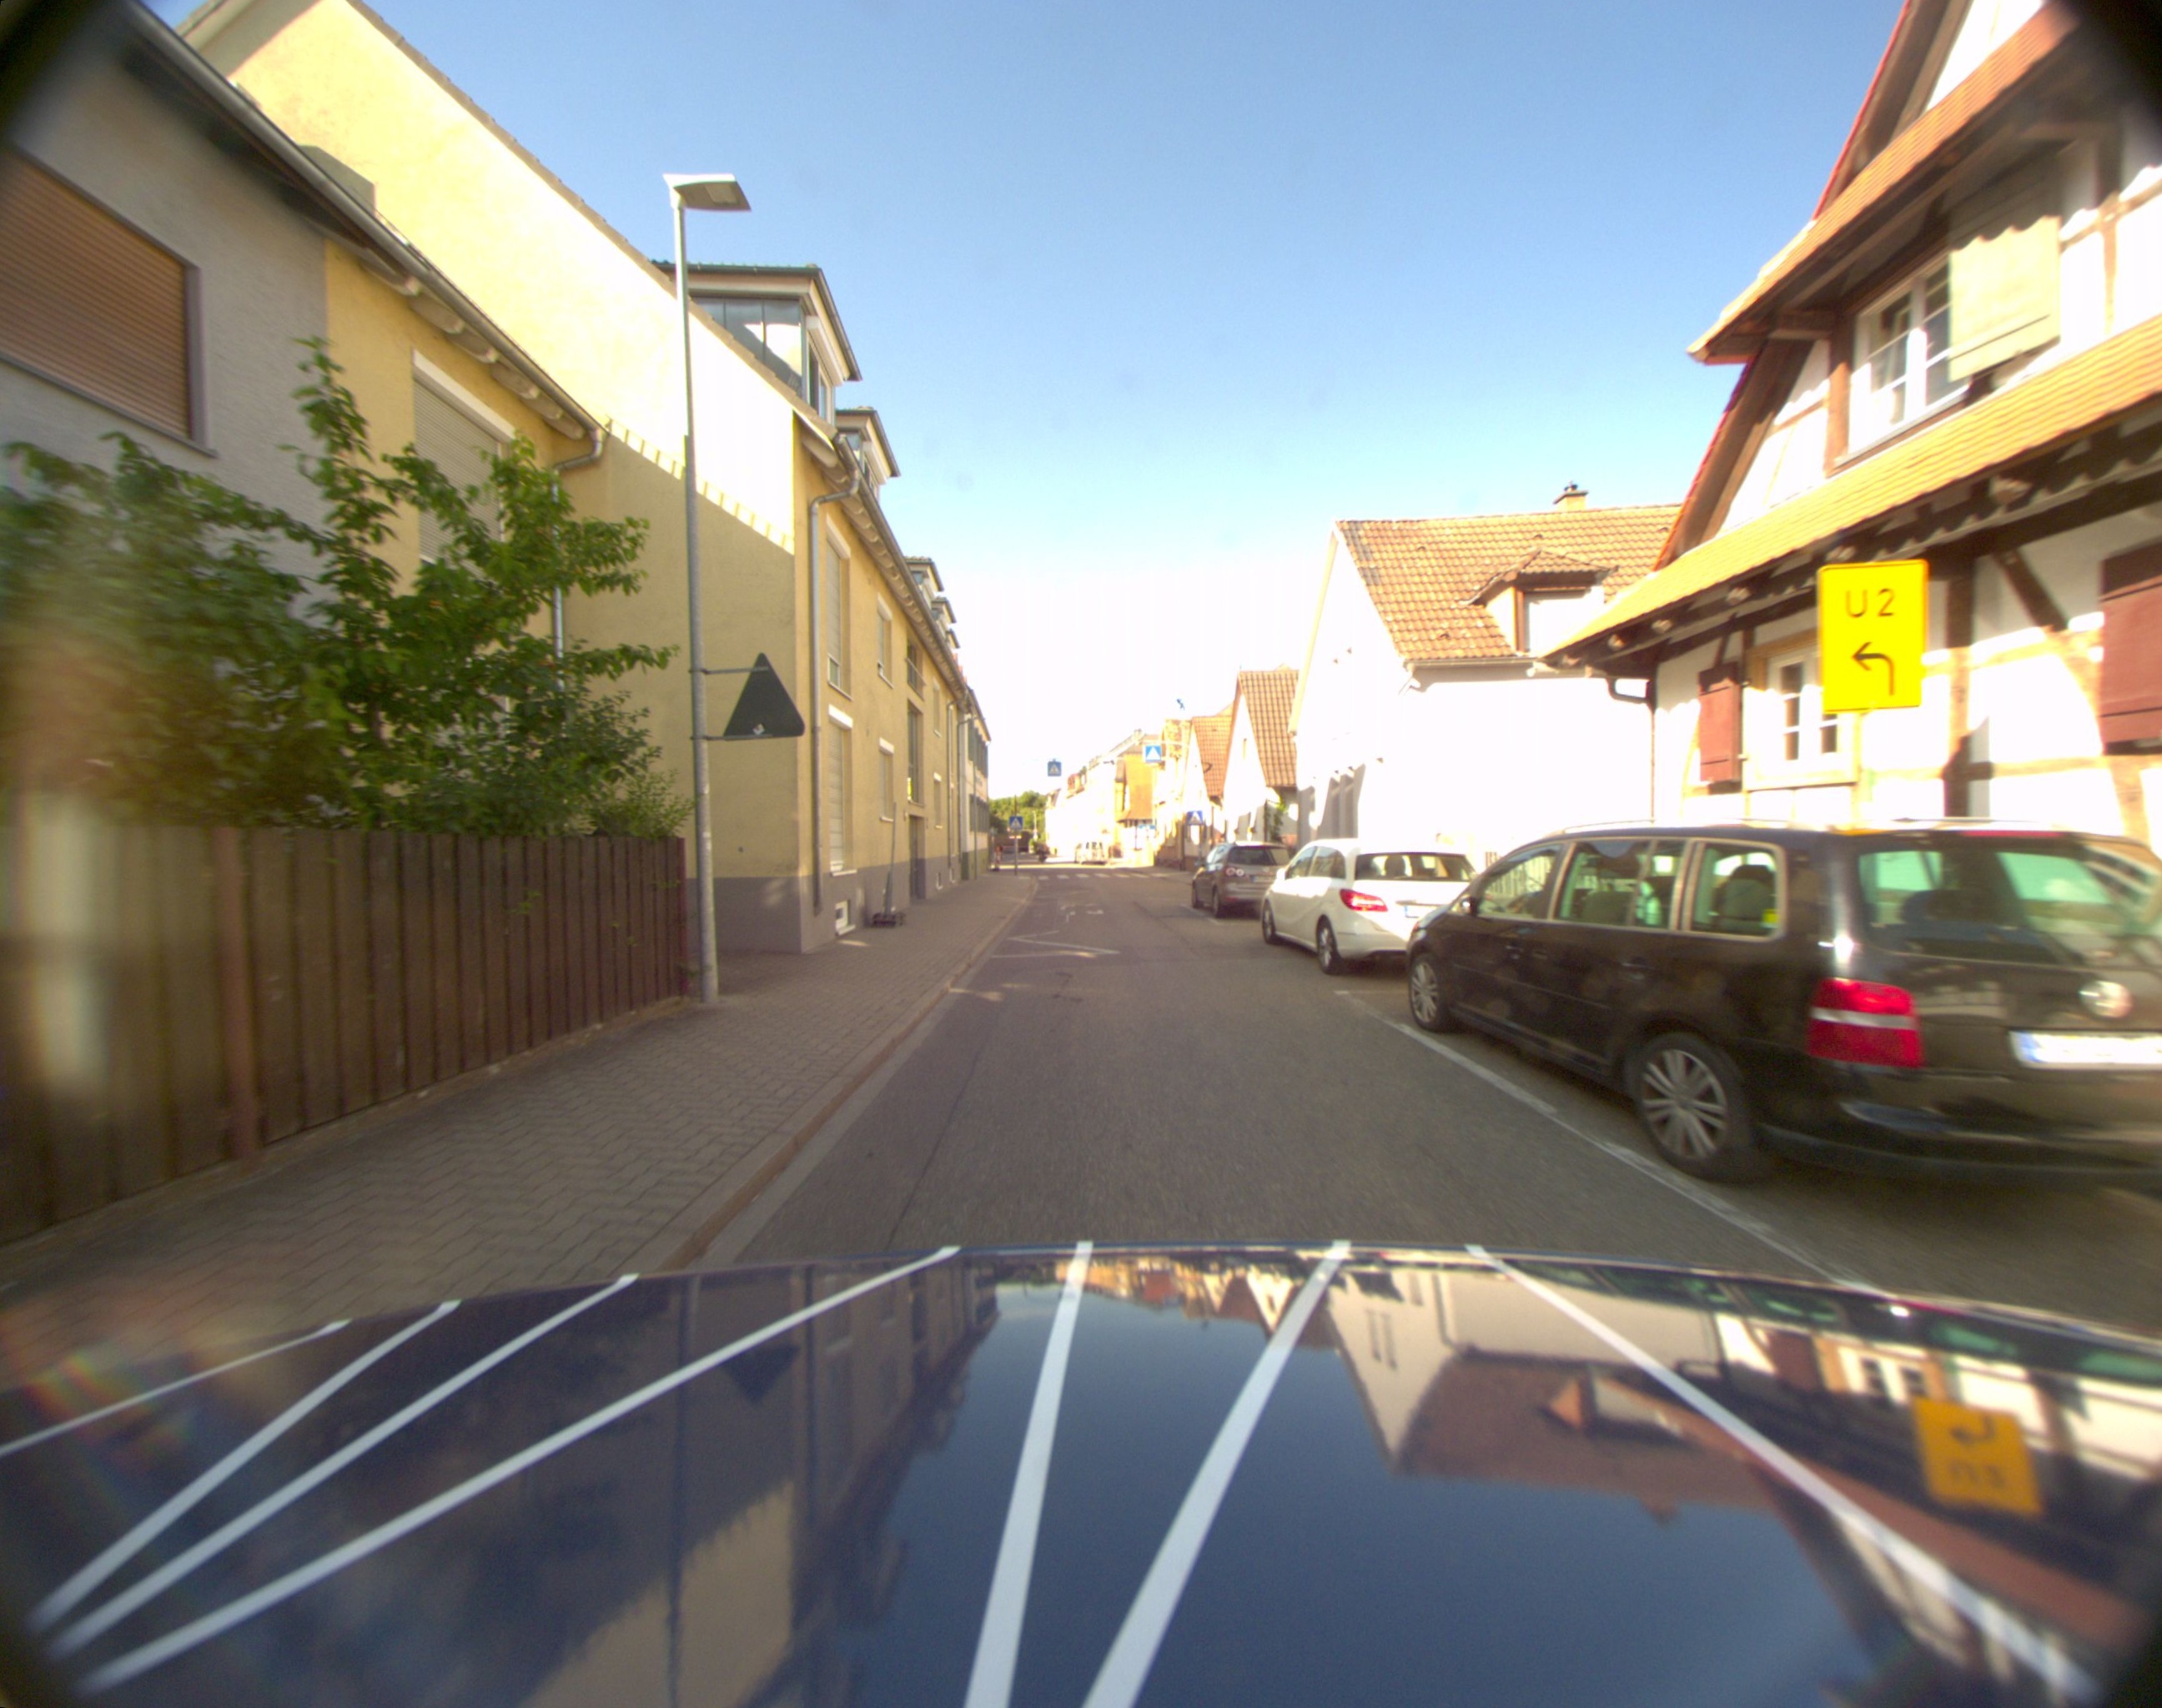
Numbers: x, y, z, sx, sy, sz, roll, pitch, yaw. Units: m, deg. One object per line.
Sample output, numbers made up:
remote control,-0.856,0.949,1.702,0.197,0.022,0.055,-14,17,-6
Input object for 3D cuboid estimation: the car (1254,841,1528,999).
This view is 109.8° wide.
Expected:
car,3.616,0.641,9.799,1.821,1.558,4.166,0,2,0

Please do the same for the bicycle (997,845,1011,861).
bicycle,-8.537,-0.140,84.105,1.258,1.543,3.996,-3,2,-8

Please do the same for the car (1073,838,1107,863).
car,0.677,-0.336,60.429,1.882,1.870,4.830,0,1,-10

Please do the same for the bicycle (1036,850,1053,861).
bicycle,-2.985,0.134,62.944,0.623,0.775,1.915,-2,2,22

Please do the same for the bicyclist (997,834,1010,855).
bicyclist,-8.593,-1.066,84.122,1.258,2.295,1.241,-3,2,-9

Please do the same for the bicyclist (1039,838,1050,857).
bicyclist,-3.016,-0.534,62.912,0.609,1.525,0.656,-2,3,21

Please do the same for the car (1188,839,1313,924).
car,3.543,0.482,16.620,1.747,1.605,3.998,0,2,-2

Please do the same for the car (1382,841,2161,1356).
car,3.534,0.739,4.550,1.788,1.595,4.360,0,1,1
